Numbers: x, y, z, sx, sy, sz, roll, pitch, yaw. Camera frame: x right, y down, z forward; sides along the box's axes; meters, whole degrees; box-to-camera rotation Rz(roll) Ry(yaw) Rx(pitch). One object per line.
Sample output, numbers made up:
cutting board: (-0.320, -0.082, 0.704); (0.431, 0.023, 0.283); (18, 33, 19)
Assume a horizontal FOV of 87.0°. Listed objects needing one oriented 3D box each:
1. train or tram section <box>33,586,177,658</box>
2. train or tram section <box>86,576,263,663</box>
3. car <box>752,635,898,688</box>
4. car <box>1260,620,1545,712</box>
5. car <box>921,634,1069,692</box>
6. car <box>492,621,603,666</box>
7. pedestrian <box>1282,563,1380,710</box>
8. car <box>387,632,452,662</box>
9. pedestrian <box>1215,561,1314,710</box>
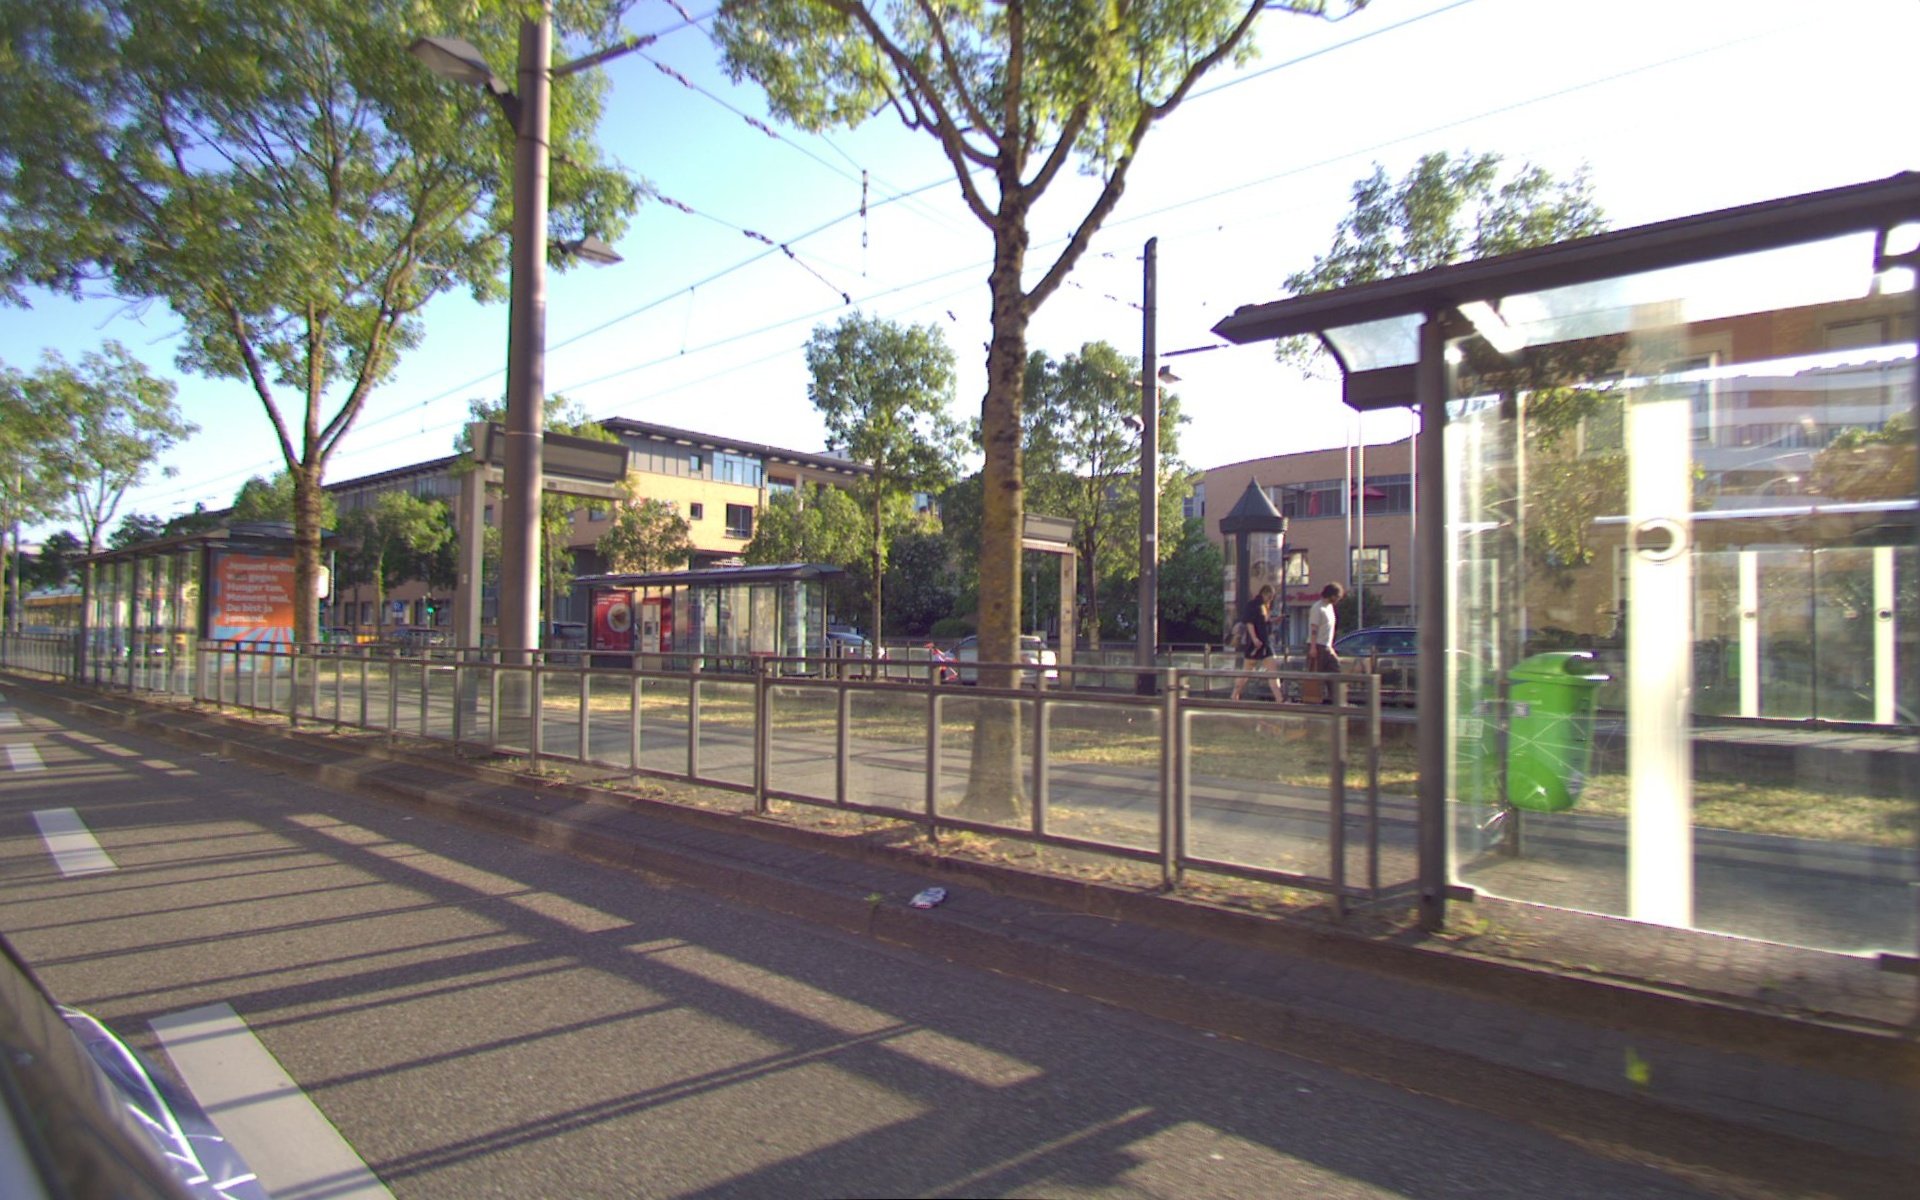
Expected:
train or tram section: (-46.177, 1.185, 54.370); (15.016, 3.456, 3.396); (-1, -2, 40)
train or tram section: (-35.190, 0.893, 45.004); (13.847, 3.365, 3.396); (-1, -2, 40)
car: (-3.686, 1.597, 27.273); (3.997, 1.308, 1.676); (-1, -2, 40)
car: (7.778, 1.085, 18.006); (4.337, 1.426, 1.776); (-1, -1, 40)
car: (0.897, 1.675, 27.120); (3.747, 1.387, 1.595); (-1, -6, 41)
car: (-14.675, 1.517, 35.926); (4.358, 1.519, 1.843); (-1, -2, 40)
pedestrian: (5.375, 0.526, 14.681); (1.127, 2.029, 0.761); (-2, -3, 42)
car: (-25.399, 2.186, 47.551); (3.689, 1.308, 1.523); (-1, -3, 42)
pedestrian: (4.329, 0.503, 14.418); (1.127, 2.029, 0.761); (-2, -3, 42)
